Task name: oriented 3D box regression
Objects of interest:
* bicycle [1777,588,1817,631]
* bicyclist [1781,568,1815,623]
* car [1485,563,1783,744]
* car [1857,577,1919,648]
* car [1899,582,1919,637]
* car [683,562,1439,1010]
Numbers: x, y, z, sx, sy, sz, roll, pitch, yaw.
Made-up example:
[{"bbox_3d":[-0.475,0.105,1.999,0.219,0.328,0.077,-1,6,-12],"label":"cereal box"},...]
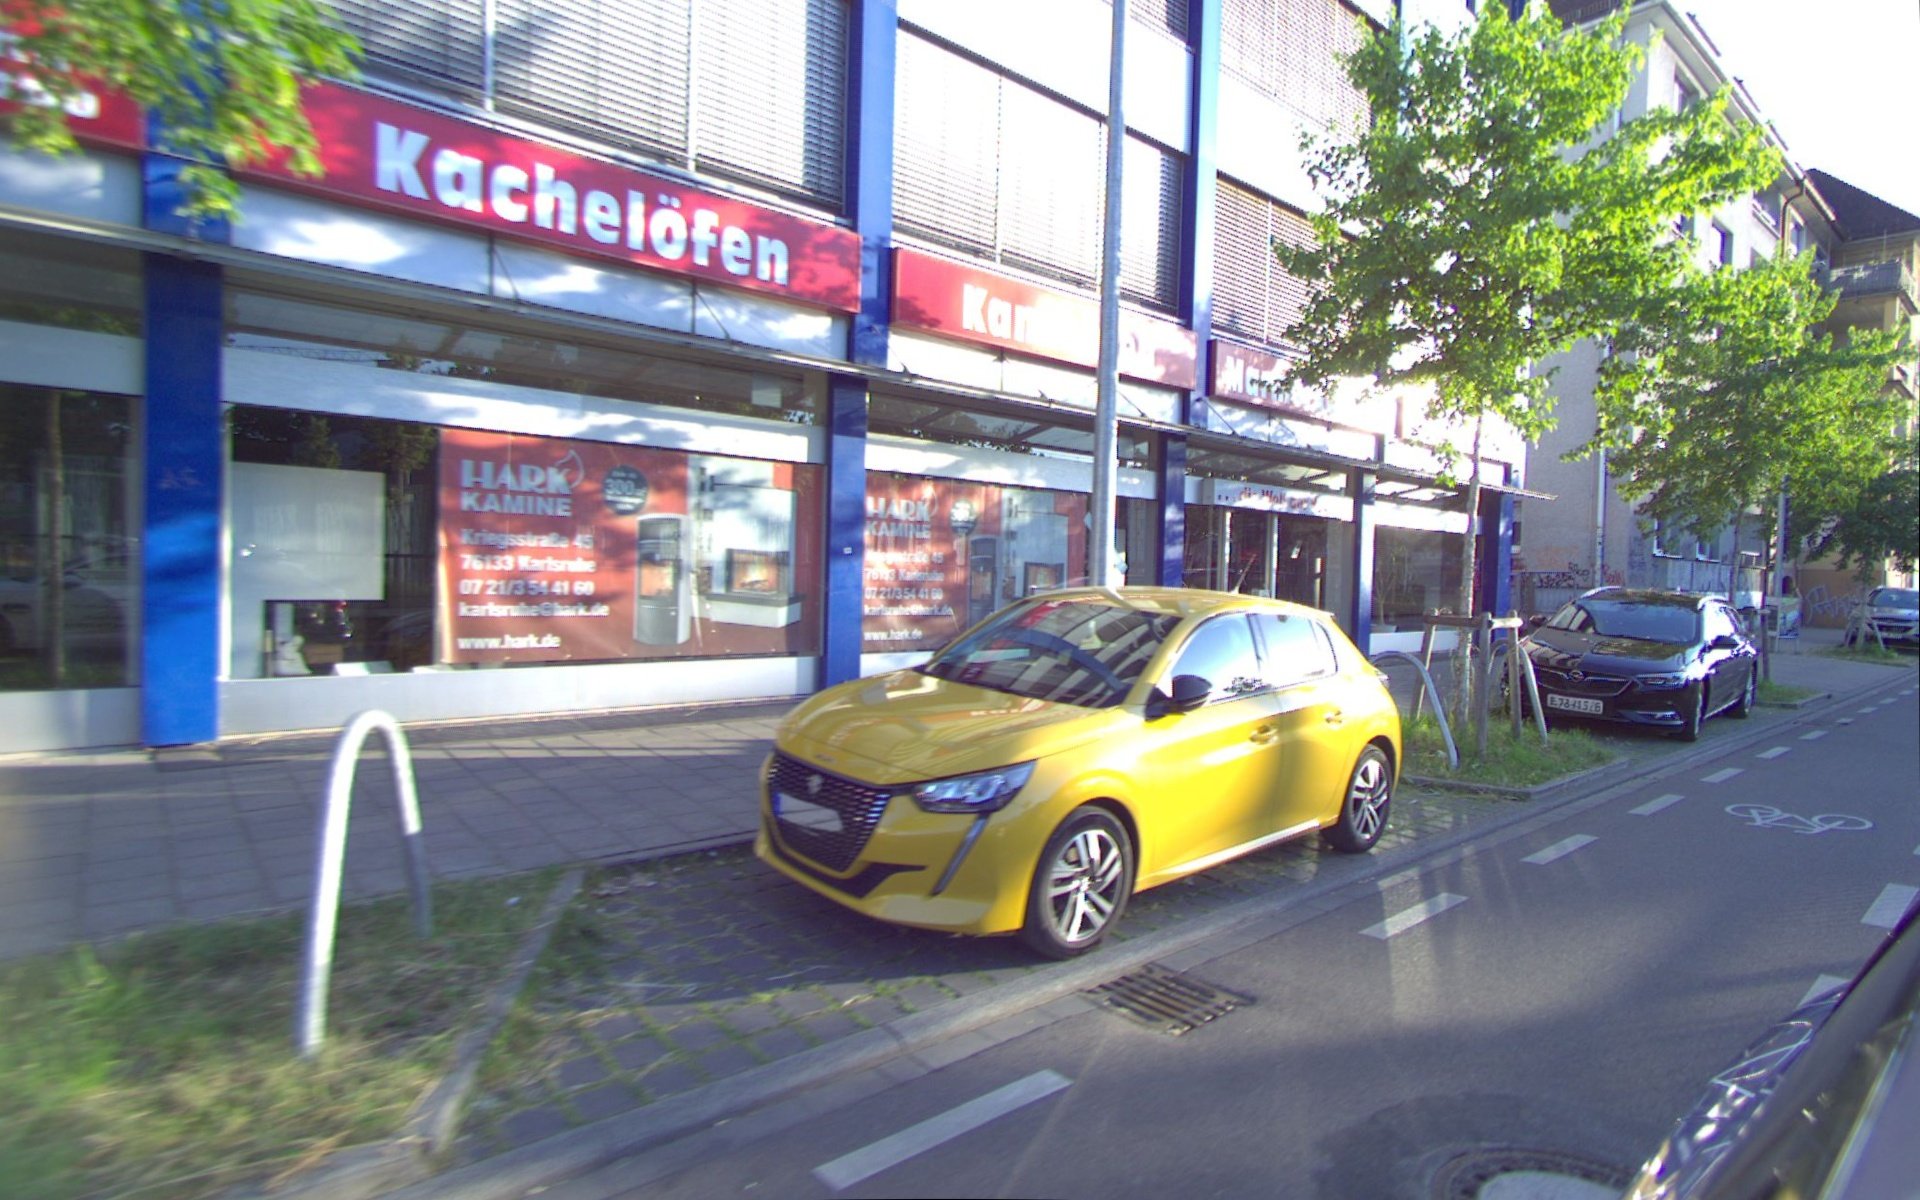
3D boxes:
[{"bbox_3d":[23.923,0.257,28.922,1.941,1.143,0.555,-1,5,-43],"label":"bicycle"},{"bbox_3d":[23.927,-0.137,28.885,0.612,1.493,0.559,0,5,-42],"label":"bicyclist"},{"bbox_3d":[8.023,0.468,11.839,4.730,1.585,1.822,-1,6,-44],"label":"car"},{"bbox_3d":[25.032,0.315,26.412,4.449,1.674,1.761,0,4,-41],"label":"car"},{"bbox_3d":[29.155,0.314,29.916,3.540,1.535,1.673,0,6,-43],"label":"car"},{"bbox_3d":[0.797,0.588,5.385,4.059,1.472,1.686,-1,3,-42],"label":"car"}]
